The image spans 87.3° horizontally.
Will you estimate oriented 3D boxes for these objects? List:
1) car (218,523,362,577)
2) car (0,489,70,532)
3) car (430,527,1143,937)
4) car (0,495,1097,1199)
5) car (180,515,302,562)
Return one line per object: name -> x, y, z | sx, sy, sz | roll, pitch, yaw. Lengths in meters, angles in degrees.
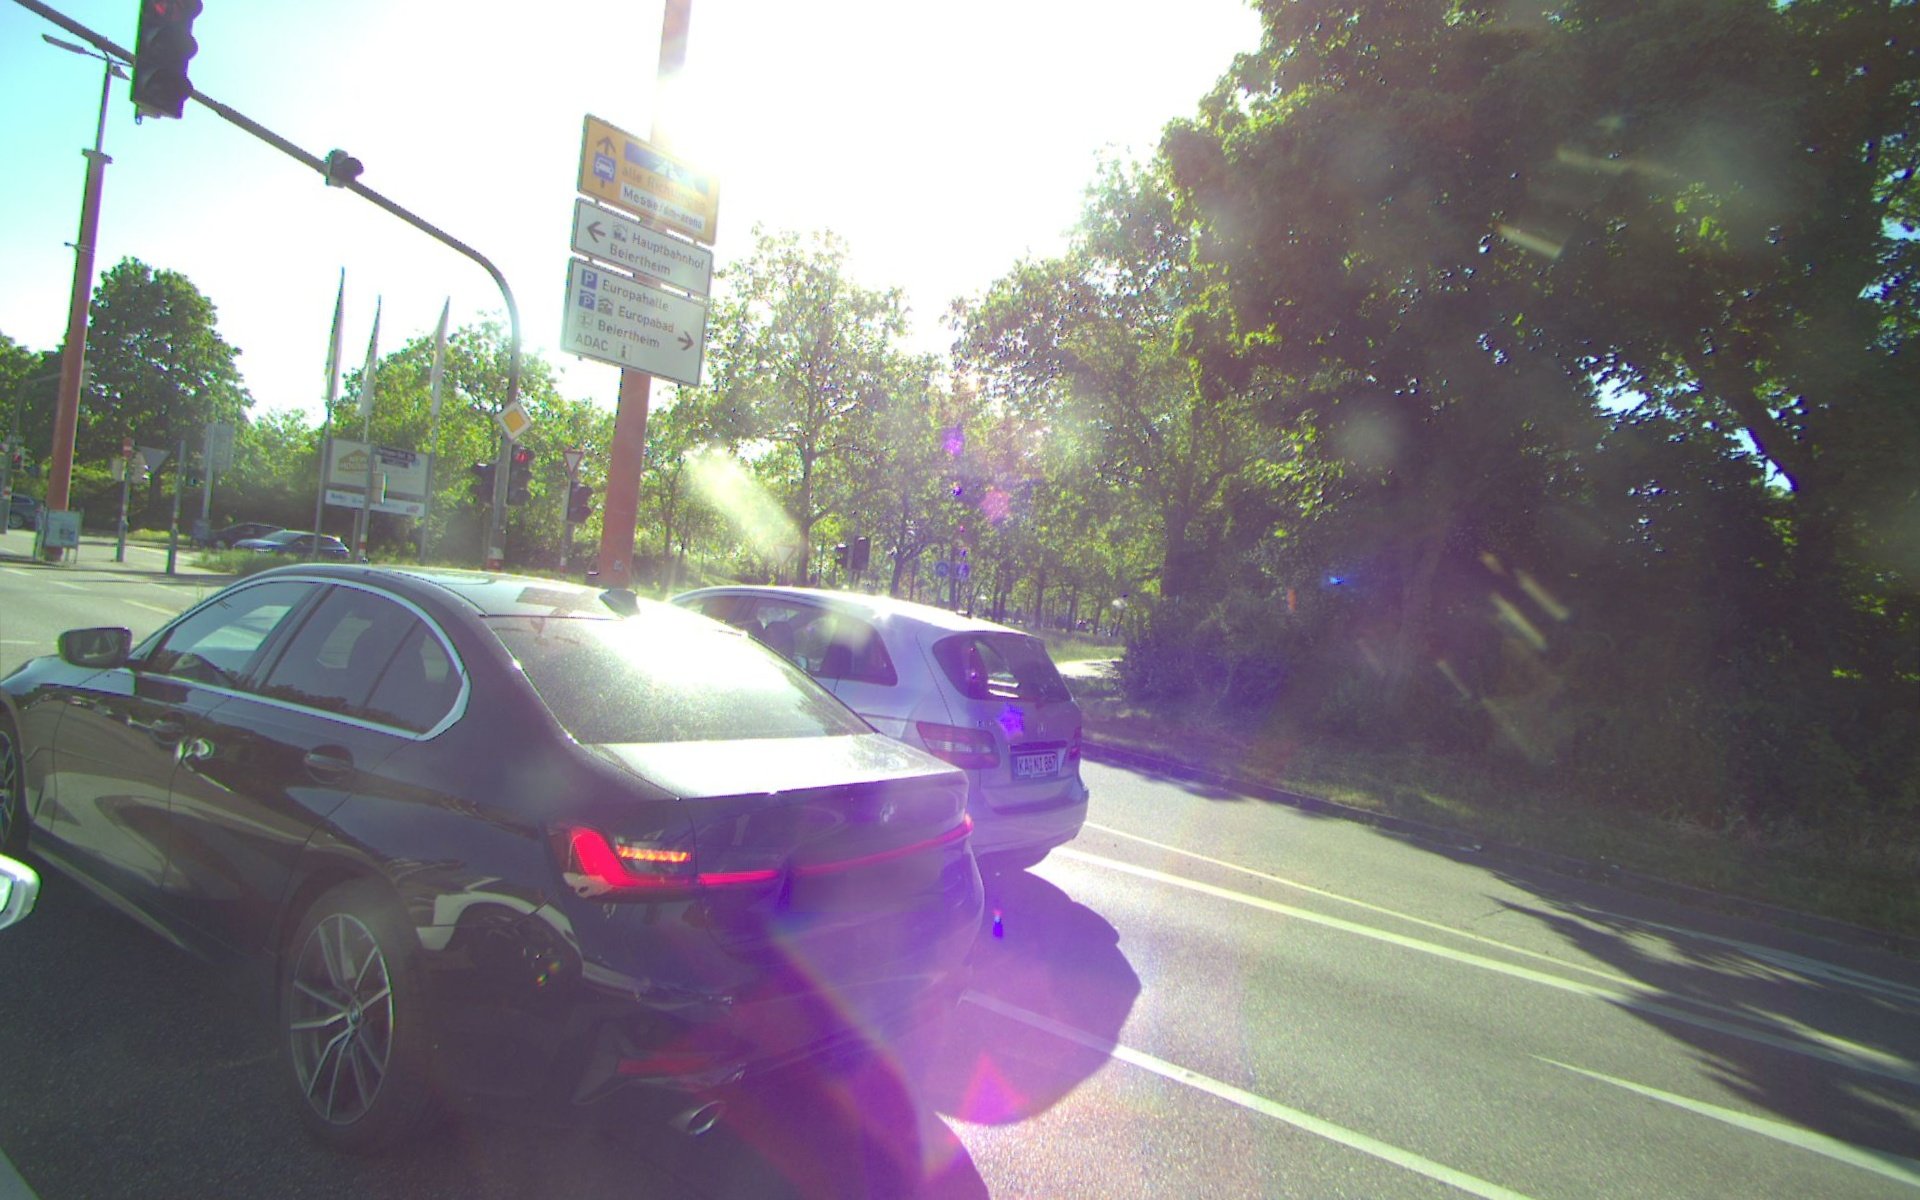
car -> -25.114, -1.817, 37.894 | 1.848, 1.445, 4.283 | 7, -1, 14
car -> -42.358, -4.106, 44.014 | 4.525, 1.592, 2.153 | 7, 0, -25
car -> -1.284, 0.637, 6.796 | 4.403, 1.706, 1.970 | 7, -1, 32
car -> -1.962, 0.525, 3.888 | 4.403, 1.411, 1.996 | 7, -1, 32
car -> -35.059, -2.985, 49.167 | 2.130, 1.592, 4.273 | 7, -1, 31
